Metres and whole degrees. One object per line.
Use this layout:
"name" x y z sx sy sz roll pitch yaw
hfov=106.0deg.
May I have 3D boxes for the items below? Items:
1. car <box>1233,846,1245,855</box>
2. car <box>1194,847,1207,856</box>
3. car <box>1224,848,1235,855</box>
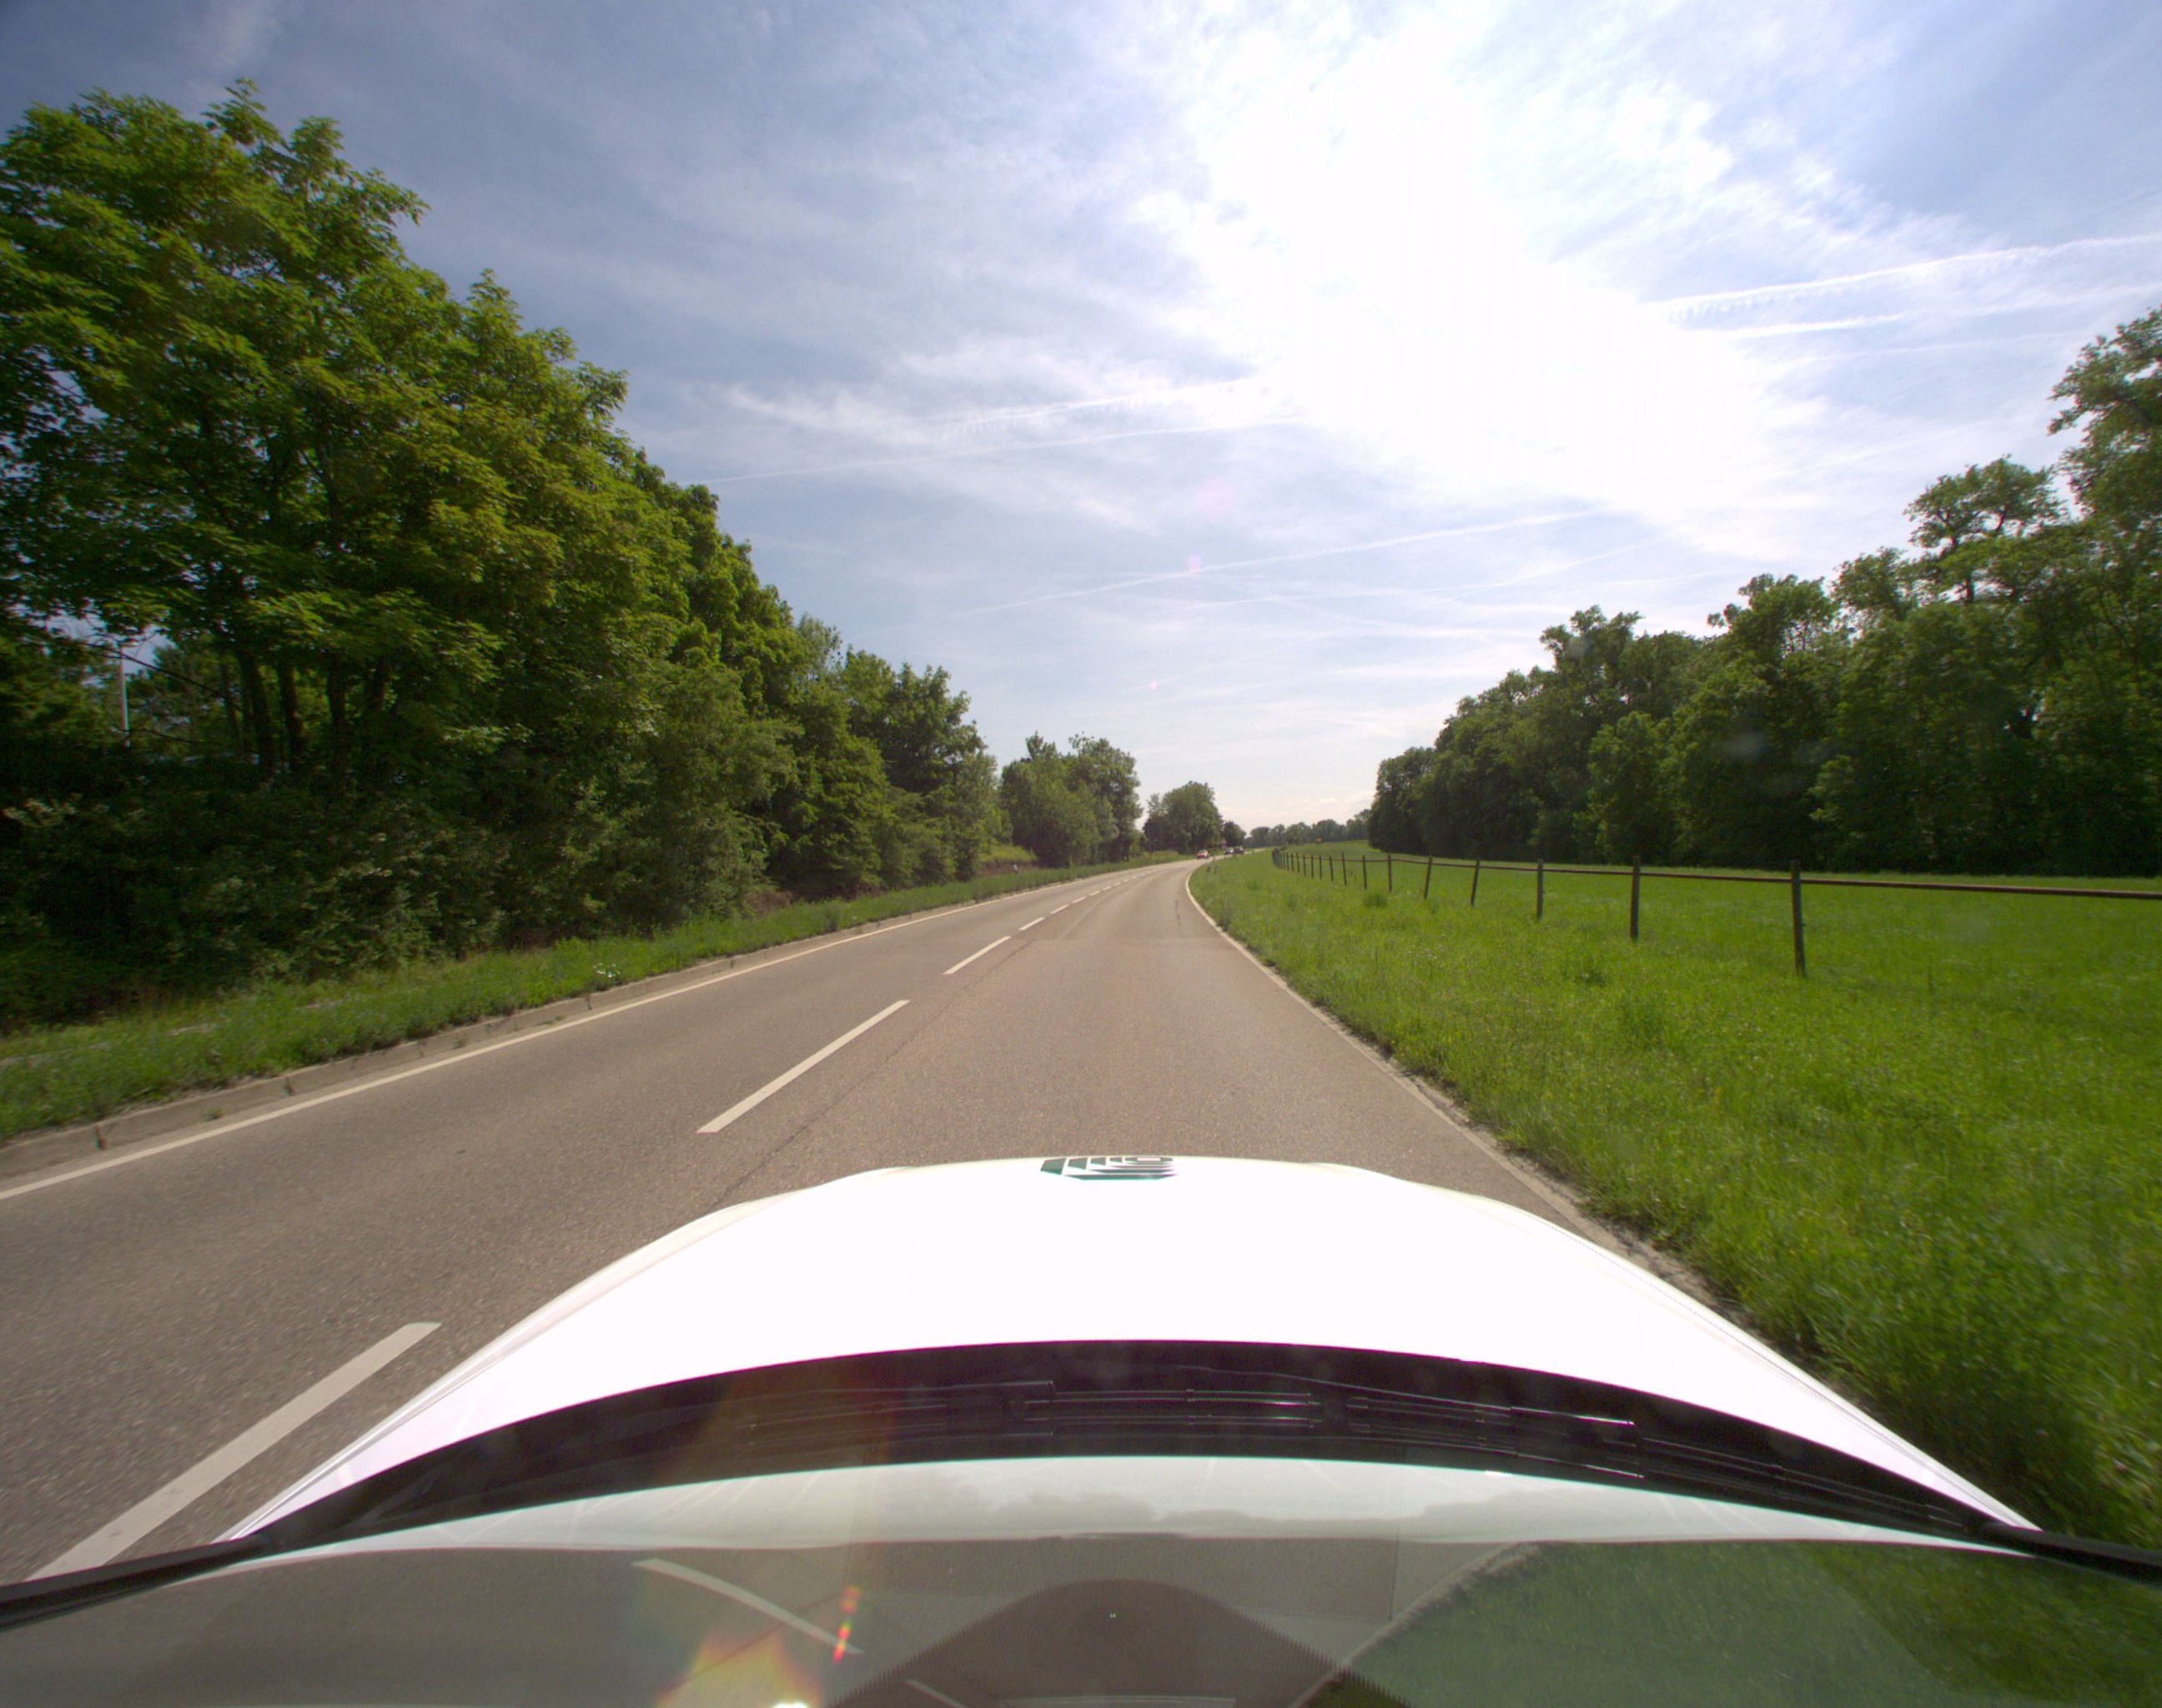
"car" 30.646 -0.660 157.595 1.979 1.574 4.016 -1 0 15
"car" 18.279 -0.392 124.021 1.810 1.469 4.011 -1 0 10
"car" 31.263 -0.577 171.171 1.806 1.469 4.019 -1 0 18
